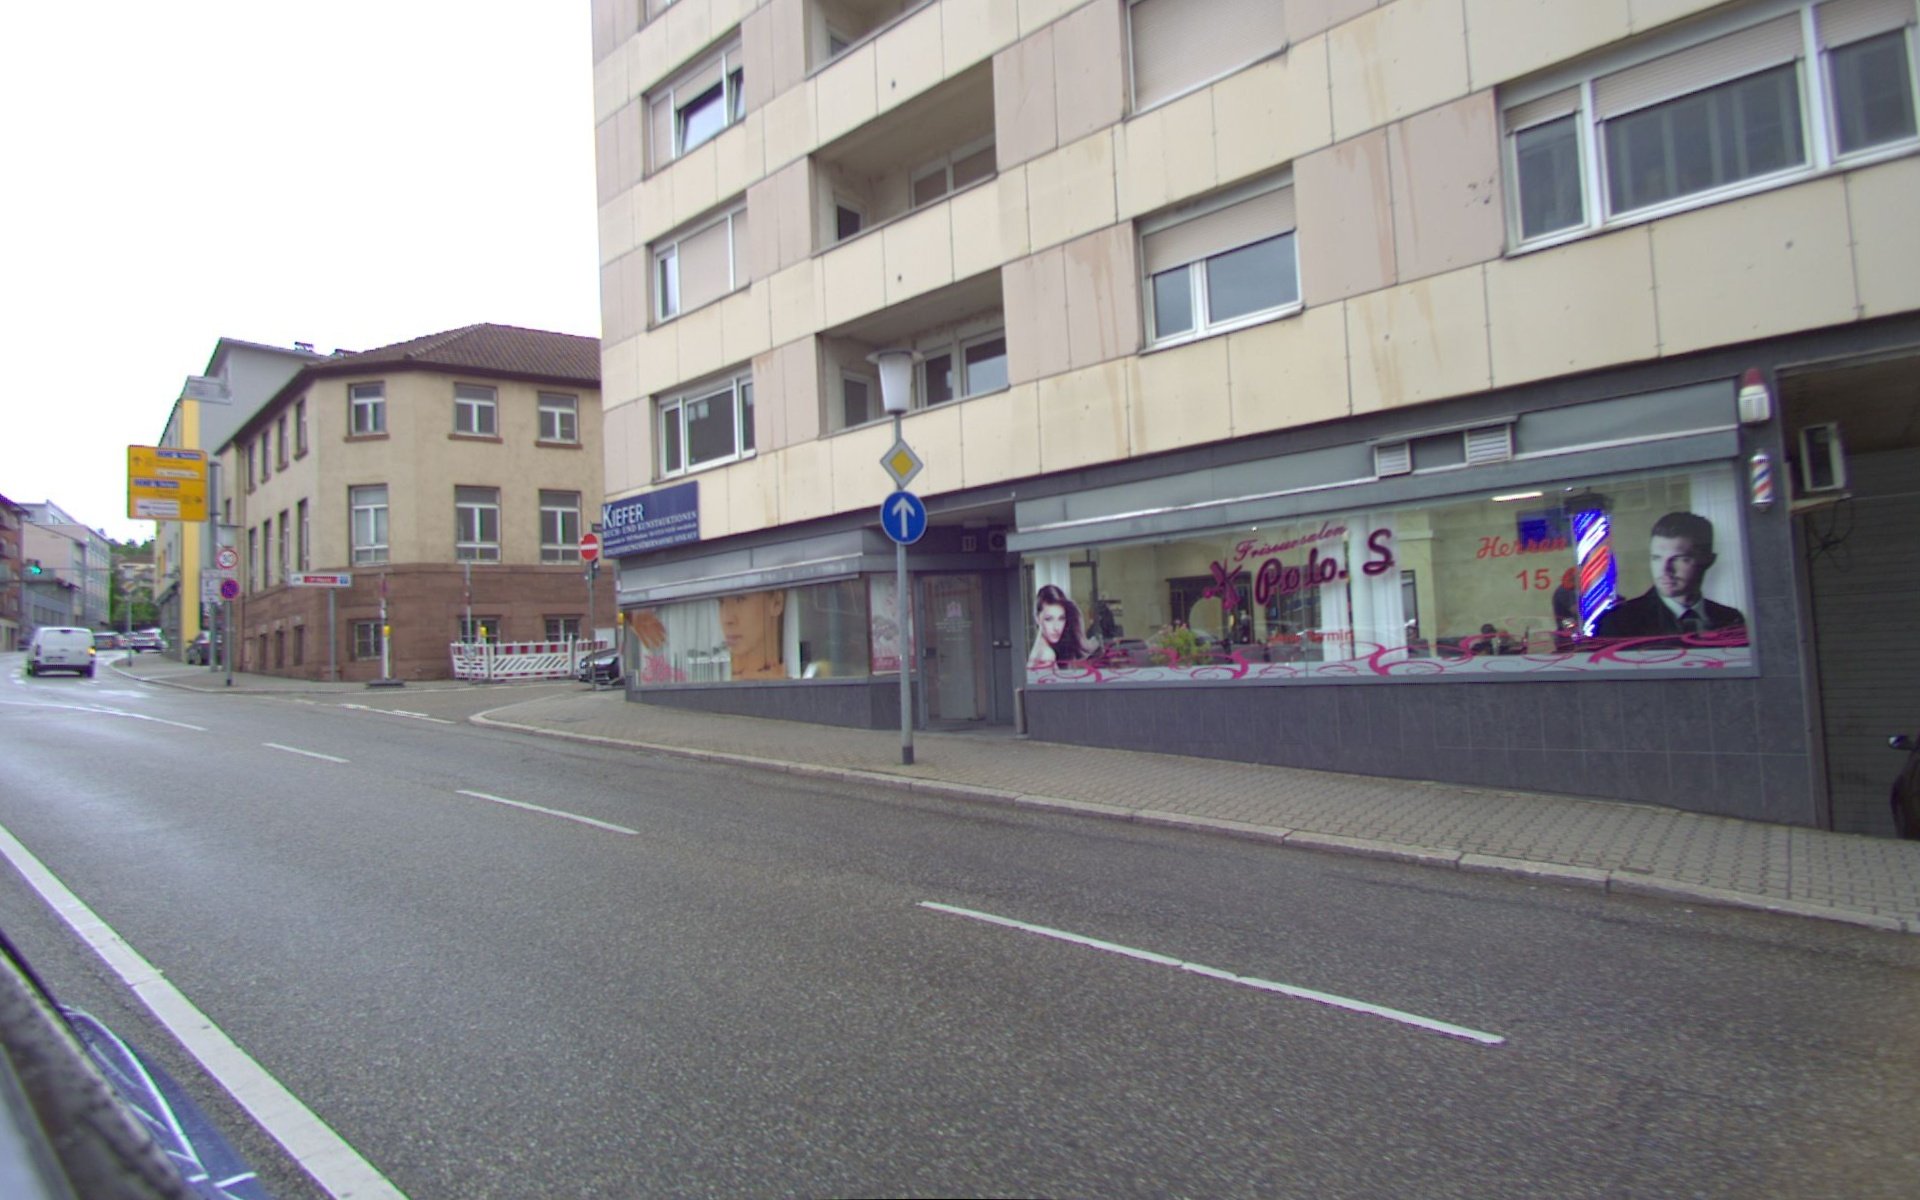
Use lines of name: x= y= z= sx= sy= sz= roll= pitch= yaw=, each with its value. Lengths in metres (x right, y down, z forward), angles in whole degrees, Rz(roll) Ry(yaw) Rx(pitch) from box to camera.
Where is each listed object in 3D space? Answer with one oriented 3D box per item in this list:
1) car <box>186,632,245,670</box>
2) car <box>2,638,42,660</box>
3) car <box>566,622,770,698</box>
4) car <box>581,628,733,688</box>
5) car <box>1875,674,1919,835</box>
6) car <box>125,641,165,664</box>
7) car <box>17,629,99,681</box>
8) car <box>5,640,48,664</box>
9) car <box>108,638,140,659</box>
car: x=-33.033 y=2.235 z=44.848 sx=1.834 sy=1.465 sz=3.969 roll=-3 pitch=0 yaw=-39
car: x=-66.012 y=3.434 z=71.273 sx=1.834 sy=1.465 sz=4.325 roll=1 pitch=-3 yaw=-40
car: x=-6.879 y=1.360 z=24.047 sx=4.296 sy=1.515 sz=1.757 roll=-1 pitch=-1 yaw=-39
car: x=-8.653 y=1.653 z=28.979 sx=3.751 sy=1.478 sz=1.757 roll=-1 pitch=-4 yaw=-36
car: x=8.700 y=1.233 z=7.865 sx=1.674 sy=1.361 sz=3.954 roll=-4 pitch=-10 yaw=33
car: x=-55.404 y=3.546 z=68.744 sx=1.835 sy=1.465 sz=4.324 roll=4 pitch=-5 yaw=-42
car: x=-33.651 y=2.030 z=37.732 sx=4.265 sy=1.817 sz=1.841 roll=-2 pitch=-3 yaw=43
car: x=-58.607 y=3.226 z=63.591 sx=1.835 sy=1.465 sz=4.324 roll=1 pitch=-3 yaw=-42
car: x=-69.509 y=4.030 z=84.141 sx=1.835 sy=1.711 sz=4.324 roll=2 pitch=-3 yaw=-42
